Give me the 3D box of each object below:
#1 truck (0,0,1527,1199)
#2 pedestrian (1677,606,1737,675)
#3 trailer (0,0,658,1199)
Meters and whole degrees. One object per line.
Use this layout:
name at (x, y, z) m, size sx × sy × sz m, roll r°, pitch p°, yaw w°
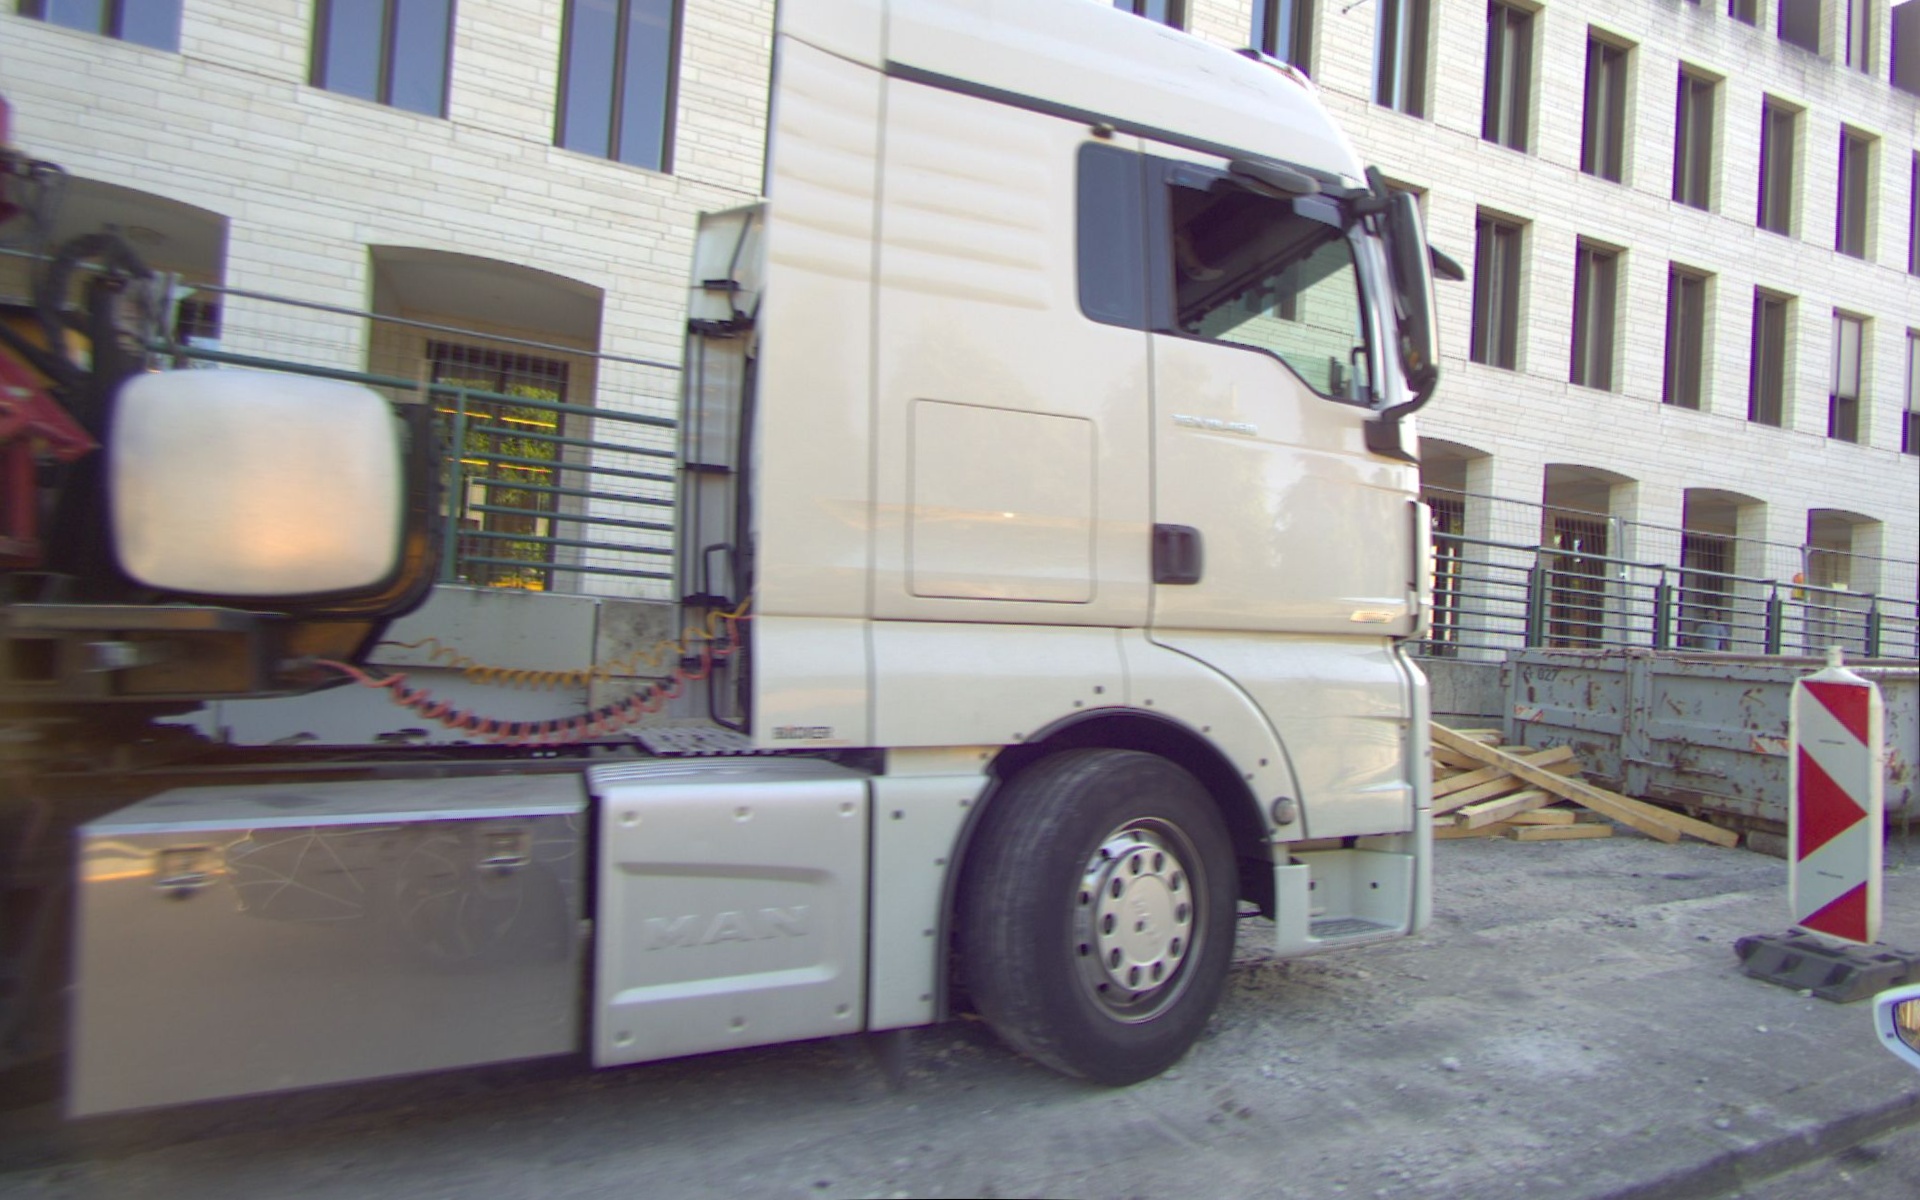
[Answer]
truck at (-1.169, -0.278, 3.690) m, size 5.731 × 3.534 × 2.576 m, roll 1°, pitch -4°, yaw -22°
pedestrian at (16.553, 0.902, 22.268) m, size 0.786 × 1.507 × 0.670 m, roll 0°, pitch -3°, yaw -19°
trailer at (-5.233, -0.466, 1.965) m, size 8.628 × 3.716 × 2.636 m, roll 2°, pitch -5°, yaw -25°
